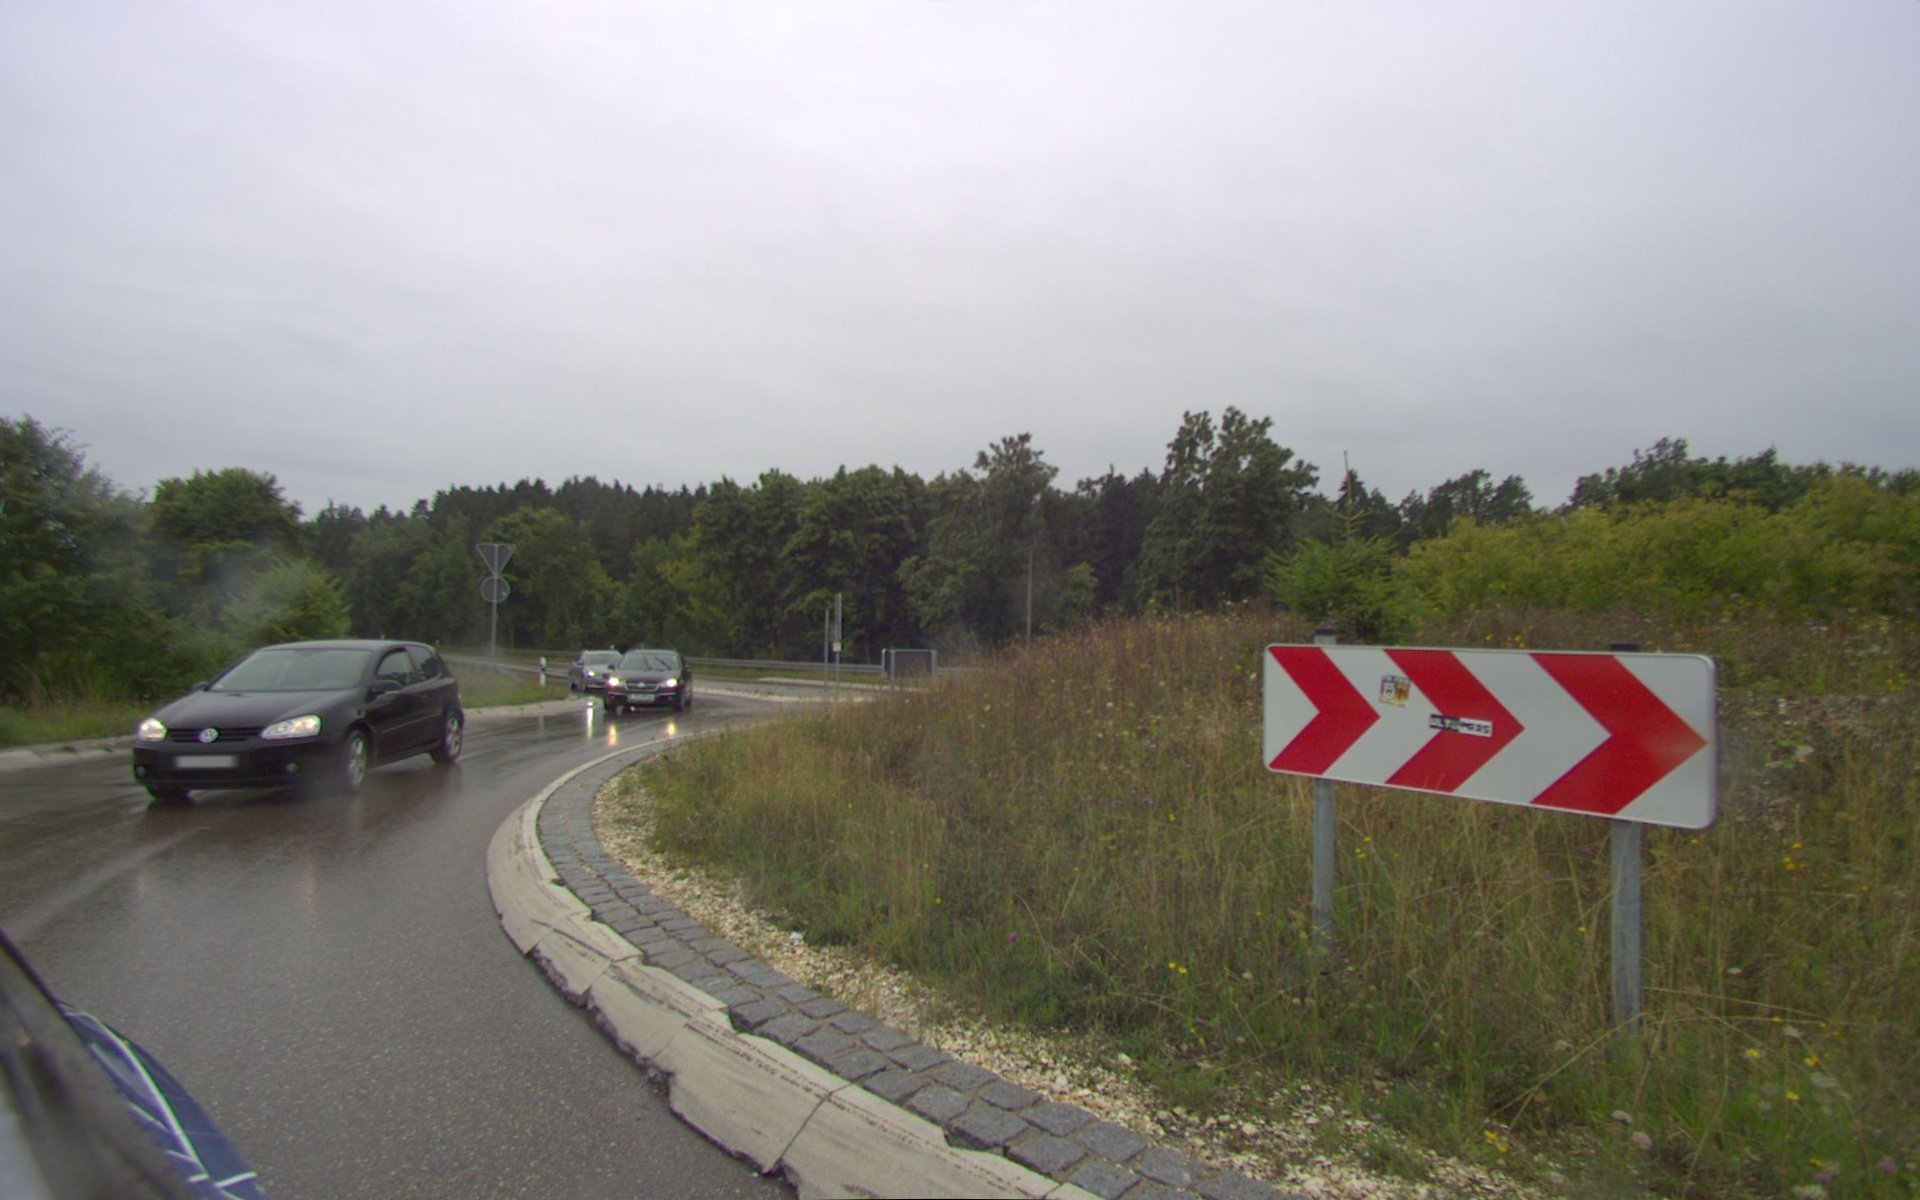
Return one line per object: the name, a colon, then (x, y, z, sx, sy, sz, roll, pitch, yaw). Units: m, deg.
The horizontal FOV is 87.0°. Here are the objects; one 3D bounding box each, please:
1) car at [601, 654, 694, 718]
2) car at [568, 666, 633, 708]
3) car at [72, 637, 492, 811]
car: (-7.481, 2.039, 24.331, 1.917, 1.382, 4.516, 2, -4, -17)
car: (-13.103, 3.127, 36.745, 1.733, 1.432, 4.518, 3, -5, -25)
car: (-6.679, 1.159, 10.704, 1.845, 1.432, 4.510, 1, -3, -7)
